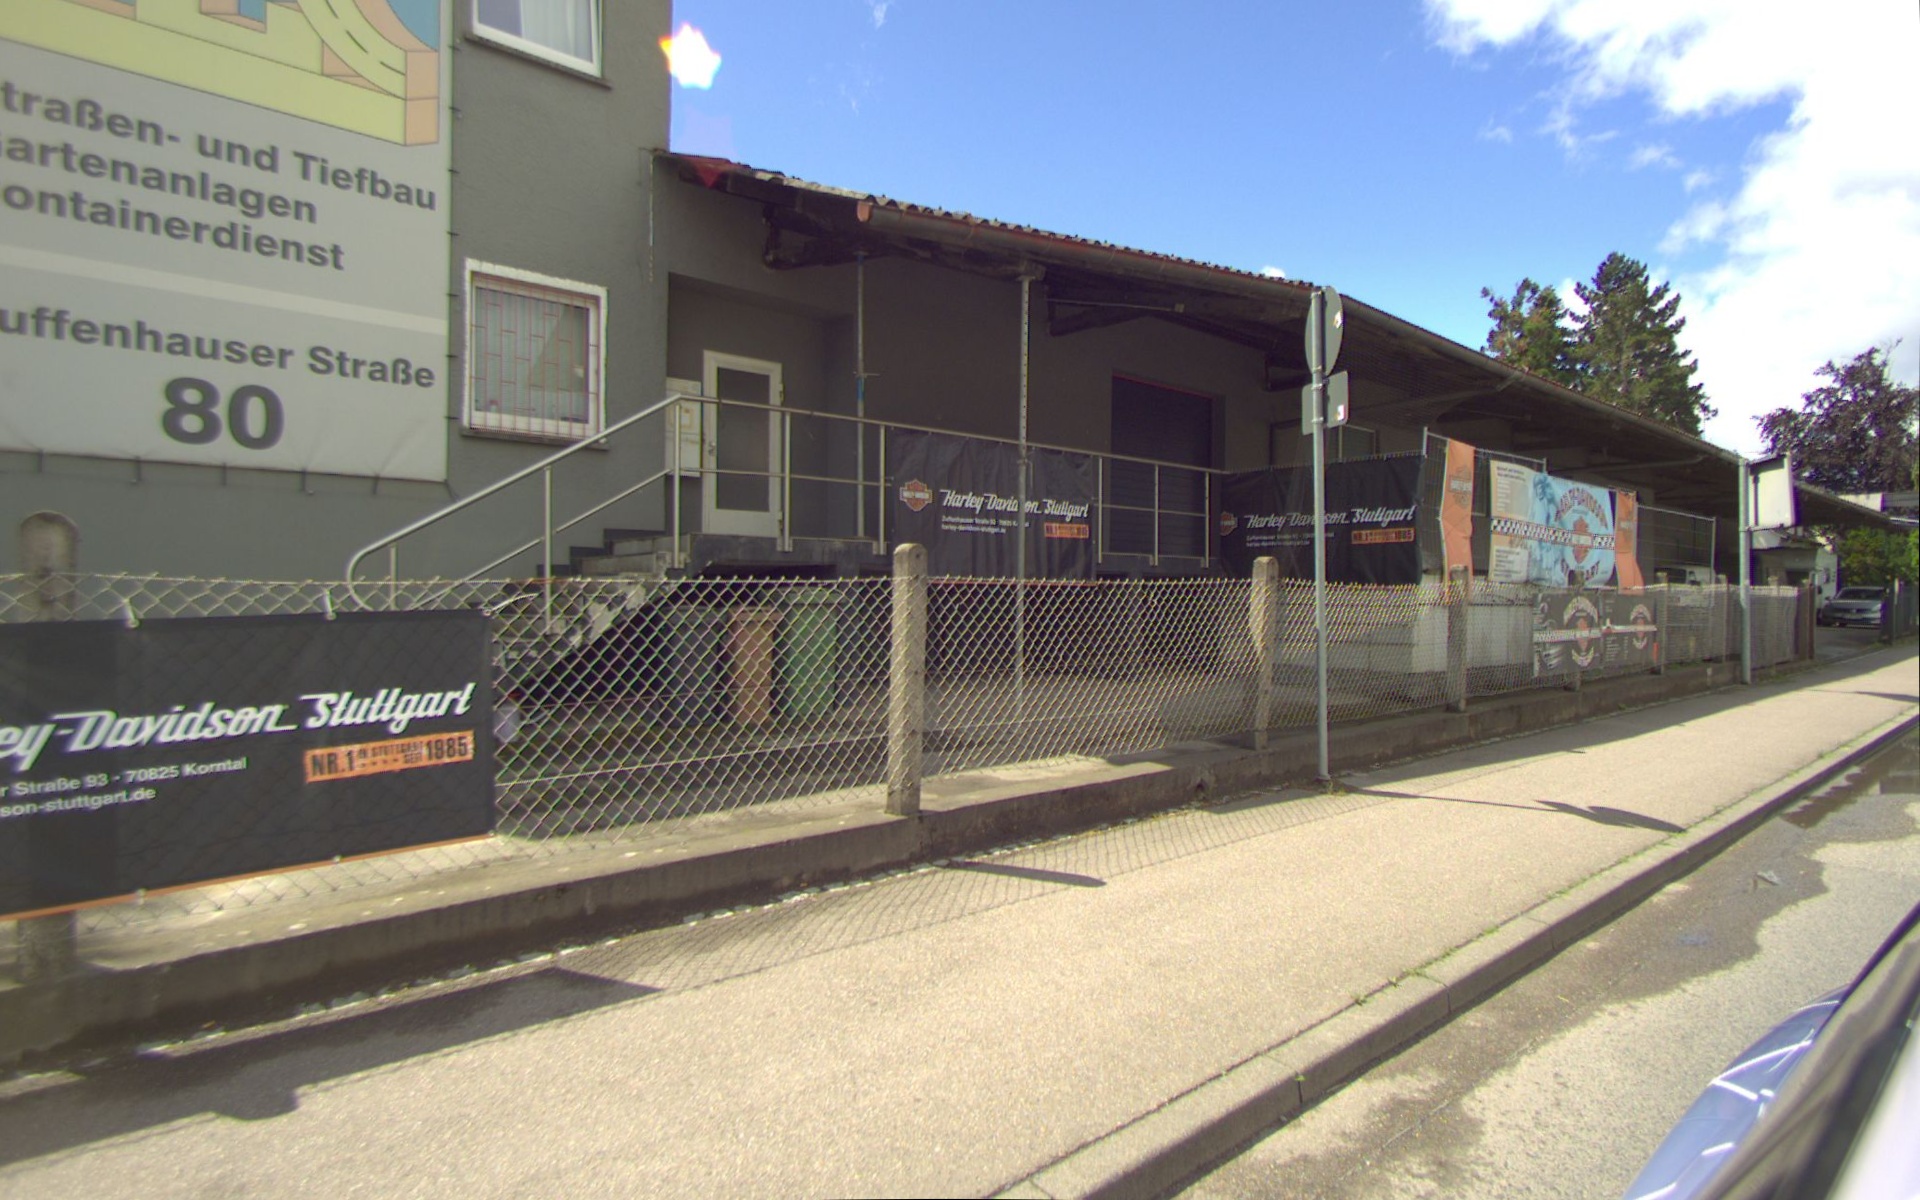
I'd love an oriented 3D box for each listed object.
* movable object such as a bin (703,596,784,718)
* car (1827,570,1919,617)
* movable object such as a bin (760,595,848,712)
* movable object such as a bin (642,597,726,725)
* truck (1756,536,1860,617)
[{"bbox_3d":[-1.763,0.446,8.245,0.466,0.942,0.482,-1,0,-40],"label":"movable object such as a bin"},{"bbox_3d":[32.397,-0.259,35.711,5.109,1.549,1.862,-1,1,-39],"label":"car"},{"bbox_3d":[-1.326,0.436,8.621,0.573,0.942,0.482,-1,1,-40],"label":"movable object such as a bin"},{"bbox_3d":[-2.158,0.455,7.908,0.466,0.942,0.482,-1,0,-40],"label":"movable object such as a bin"},{"bbox_3d":[32.205,-0.889,38.368,5.109,2.864,2.091,-1,1,-39],"label":"truck"}]
